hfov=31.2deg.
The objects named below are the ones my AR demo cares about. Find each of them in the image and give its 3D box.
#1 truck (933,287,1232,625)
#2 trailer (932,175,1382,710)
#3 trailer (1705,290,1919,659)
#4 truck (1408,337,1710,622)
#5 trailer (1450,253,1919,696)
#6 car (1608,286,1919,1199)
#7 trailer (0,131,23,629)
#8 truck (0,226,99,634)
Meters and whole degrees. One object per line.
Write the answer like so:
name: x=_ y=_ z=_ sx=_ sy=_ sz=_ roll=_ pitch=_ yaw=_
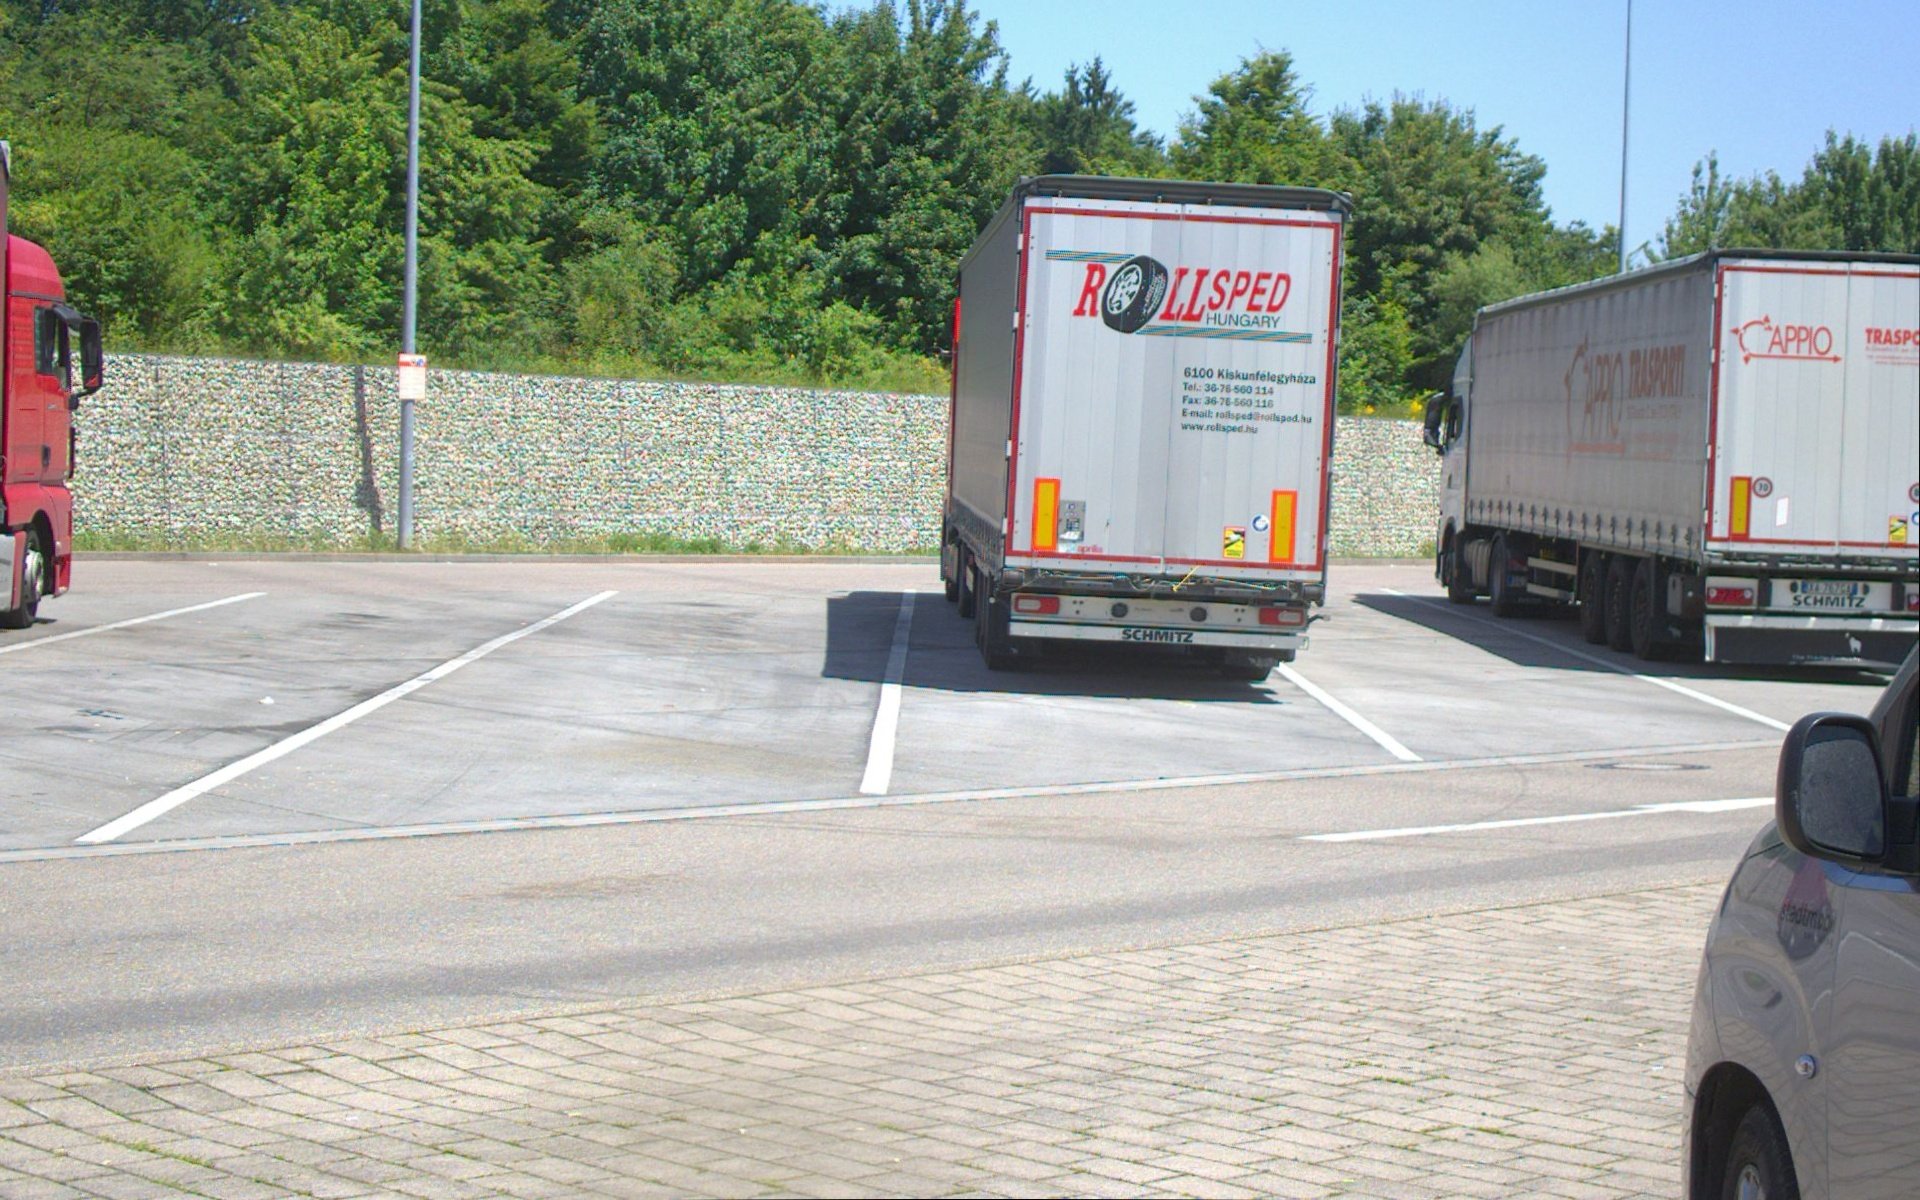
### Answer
truck: x=1.314 y=-1.729 z=40.501 sx=3.103 sy=3.554 sz=5.900 roll=2 pitch=3 yaw=-1
trailer: x=1.451 y=-1.587 z=33.609 sx=3.133 sy=3.976 sz=14.397 roll=2 pitch=3 yaw=-1
trailer: x=11.759 y=-1.449 z=39.772 sx=2.811 sy=3.976 sz=14.396 roll=2 pitch=3 yaw=-1
truck: x=8.026 y=-1.692 z=46.821 sx=2.862 sy=3.509 sz=5.900 roll=2 pitch=3 yaw=-1
trailer: x=8.118 y=-1.517 z=38.721 sx=2.811 sy=3.976 sz=14.396 roll=2 pitch=3 yaw=-1
car: x=2.150 y=0.590 z=3.840 sx=1.869 sy=1.857 sz=4.177 roll=2 pitch=2 yaw=-2
trailer: x=-9.192 y=-1.483 z=21.560 sx=2.791 sy=4.071 sz=14.133 roll=2 pitch=3 yaw=-1
truck: x=-9.236 y=-1.439 z=28.134 sx=2.851 sy=3.316 sz=5.900 roll=2 pitch=3 yaw=-1
